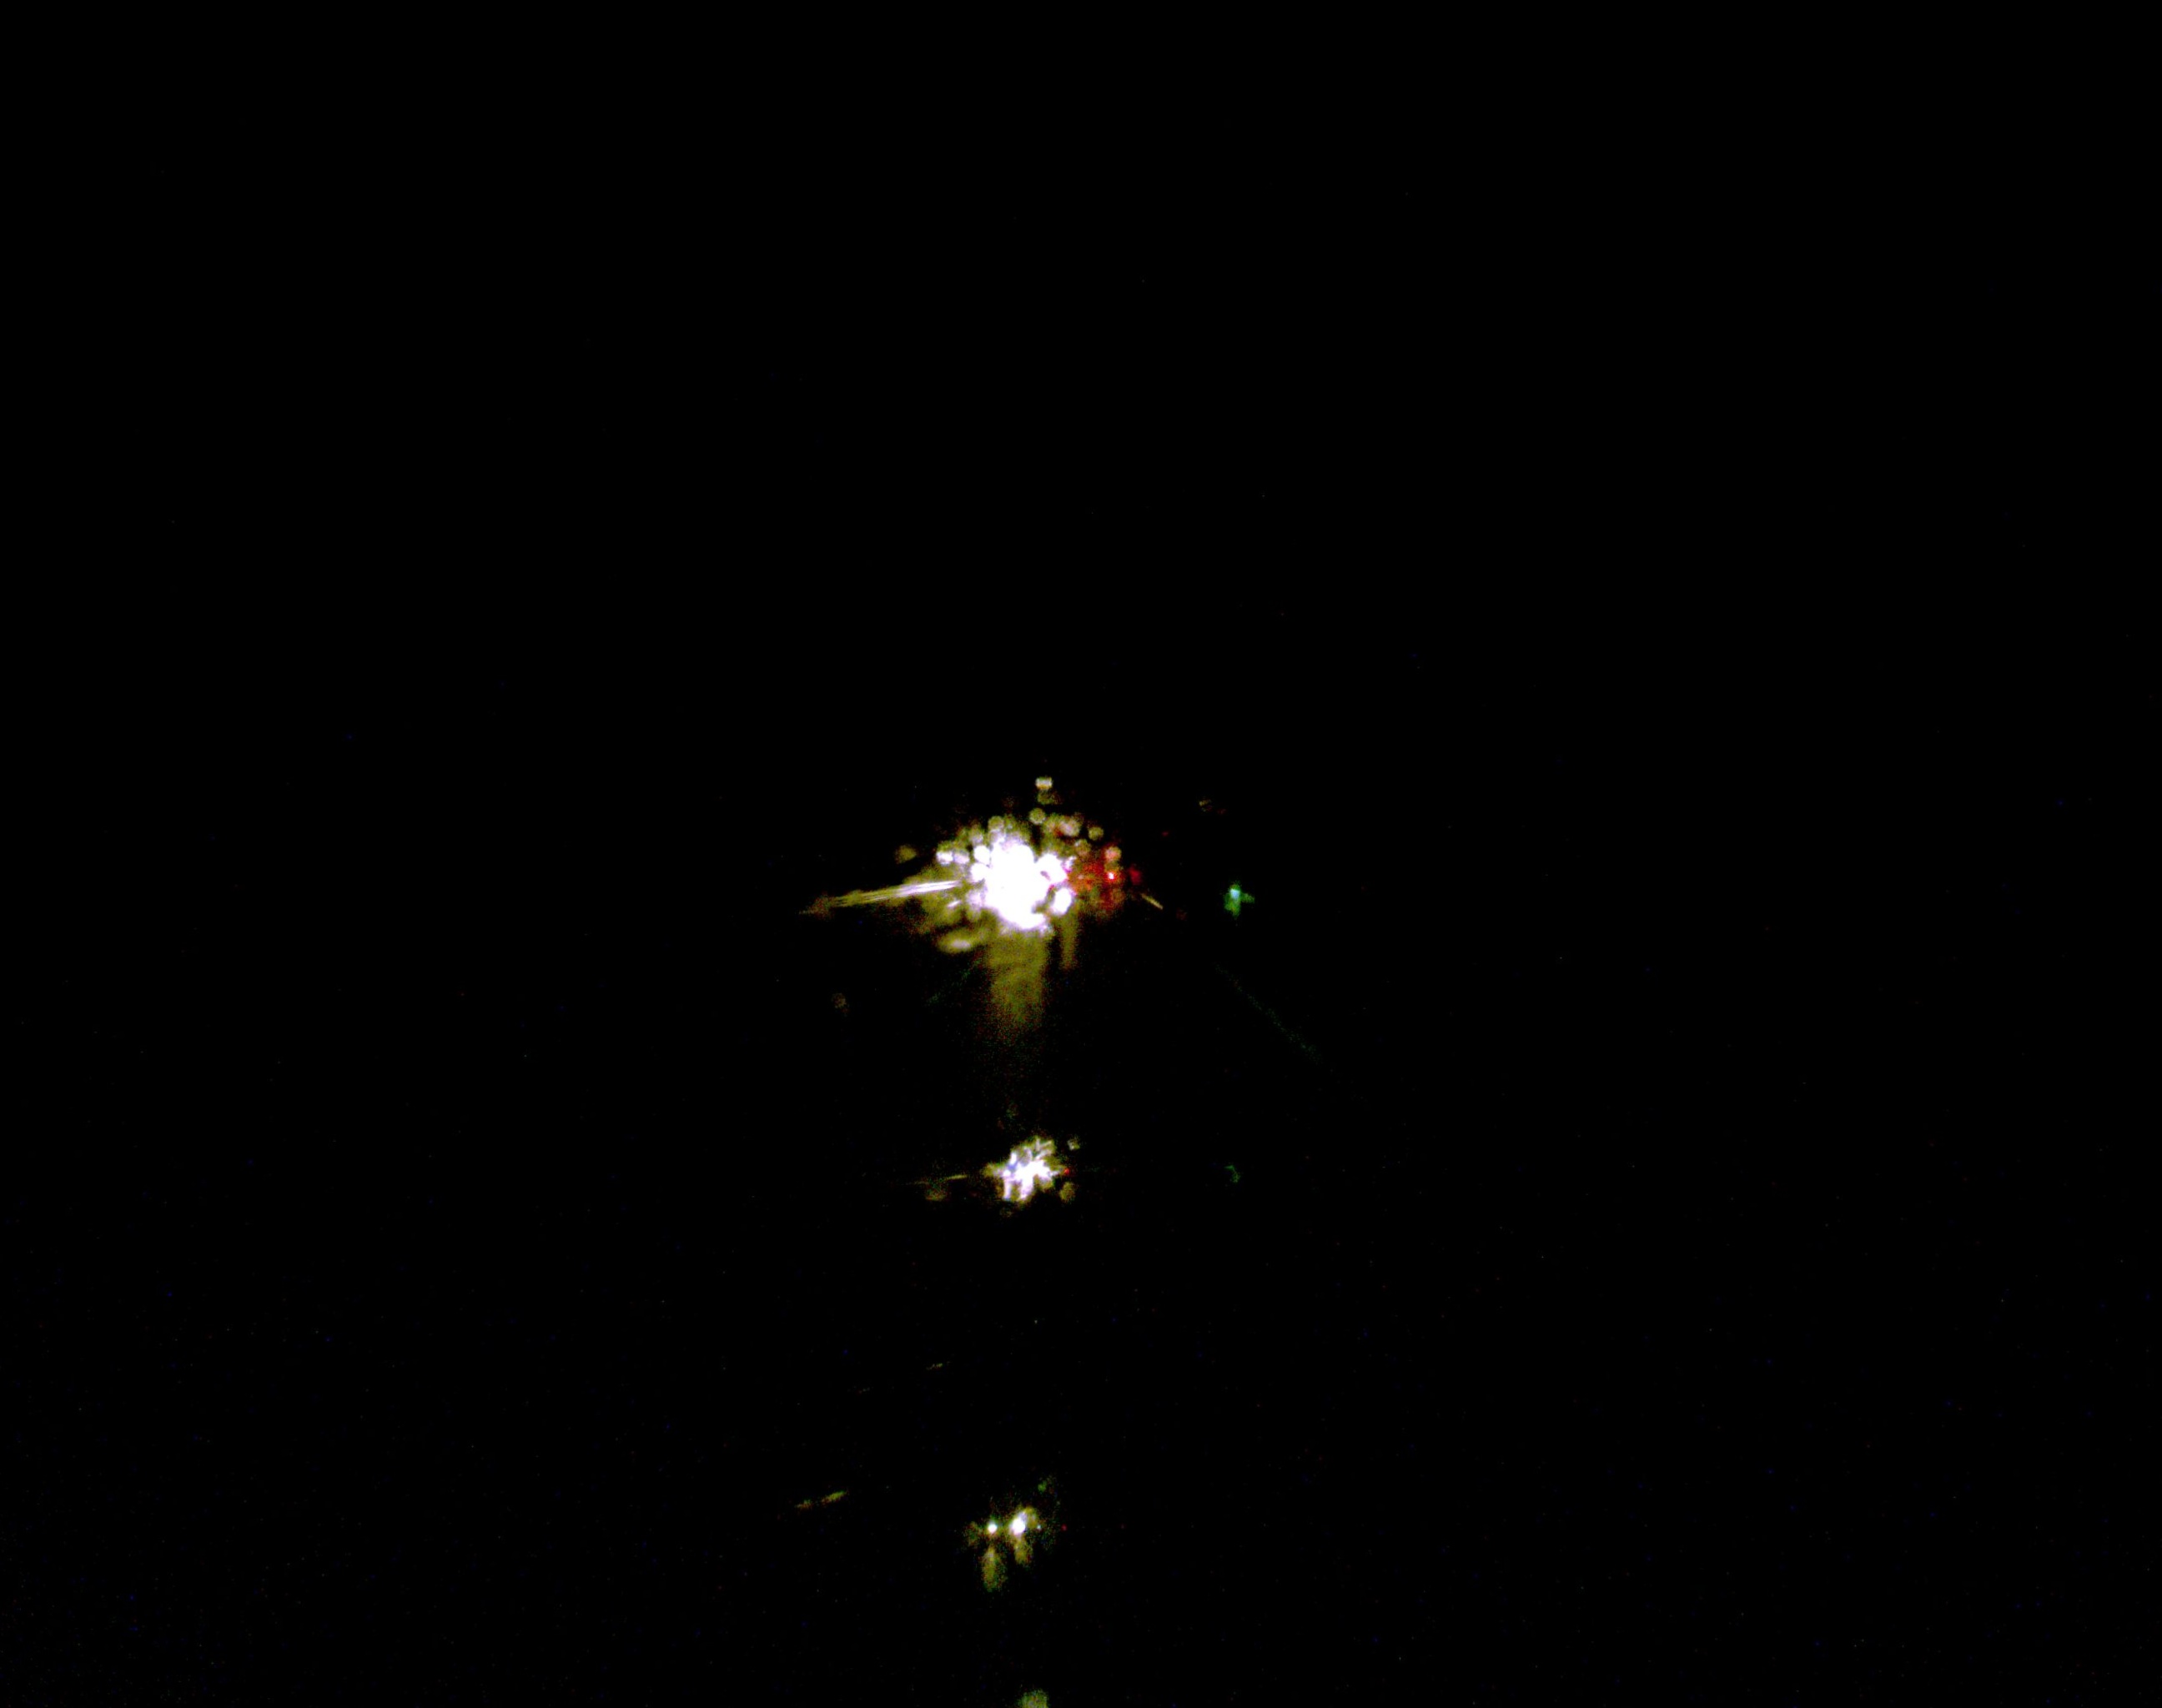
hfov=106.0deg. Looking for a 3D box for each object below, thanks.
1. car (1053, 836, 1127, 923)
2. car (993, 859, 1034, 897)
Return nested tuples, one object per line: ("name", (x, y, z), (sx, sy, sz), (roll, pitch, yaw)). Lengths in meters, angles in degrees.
("car", (0.257, 0.746, 26.721), (2.174, 2.557, 4.506), (2, 0, -1))
("car", (-3.807, 1.311, 46.353), (1.988, 2.013, 4.453), (-2, 0, -2))
